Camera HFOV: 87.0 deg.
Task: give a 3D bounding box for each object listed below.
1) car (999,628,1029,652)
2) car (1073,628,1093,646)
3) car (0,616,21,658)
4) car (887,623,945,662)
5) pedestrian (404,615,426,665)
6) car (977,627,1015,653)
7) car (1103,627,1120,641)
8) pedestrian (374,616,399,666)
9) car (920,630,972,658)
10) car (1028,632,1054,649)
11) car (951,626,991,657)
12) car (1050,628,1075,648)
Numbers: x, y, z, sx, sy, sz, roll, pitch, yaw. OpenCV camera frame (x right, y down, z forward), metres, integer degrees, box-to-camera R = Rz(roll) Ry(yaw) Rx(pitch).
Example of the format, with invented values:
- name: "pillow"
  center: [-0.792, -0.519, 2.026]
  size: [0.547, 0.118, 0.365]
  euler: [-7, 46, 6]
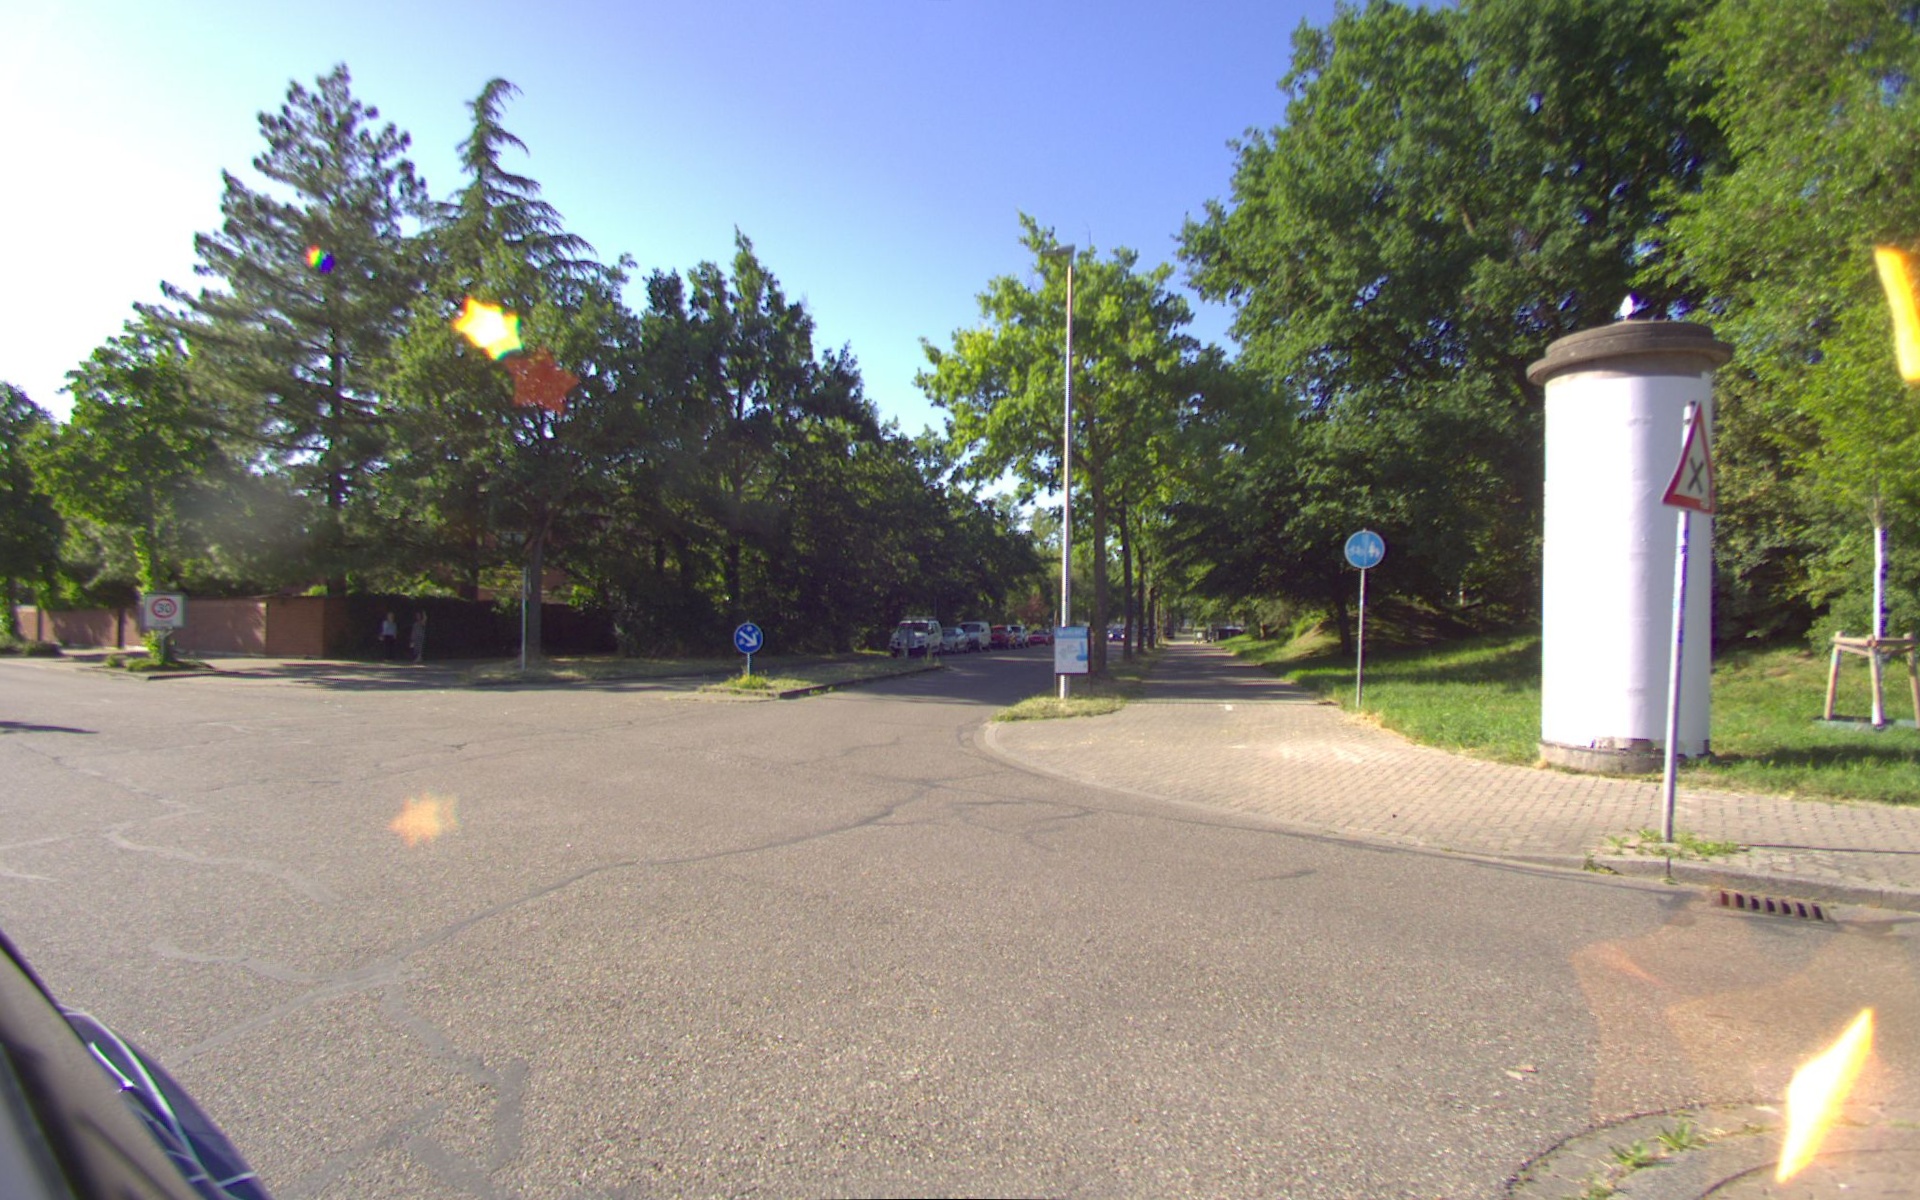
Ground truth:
- name: "car"
  center: [3.869, 2.833, 72.120]
  size: [1.487, 1.651, 3.736]
  euler: [-1, -2, 14]
- name: "car"
  center: [11.883, 3.544, 97.647]
  size: [1.438, 1.666, 3.700]
  euler: [-1, -2, 16]
- name: "car"
  center: [-40.251, 1.501, 41.226]
  size: [3.987, 1.671, 1.978]
  euler: [0, -1, 32]
- name: "car"
  center: [-2.063, 1.997, 48.715]
  size: [1.737, 1.762, 4.617]
  euler: [-1, -2, 11]
- name: "pedestrian"
  center: [-17.286, 1.274, 32.093]
  size: [0.538, 1.573, 0.391]
  euler: [0, -2, 40]
- name: "car"
  center: [2.377, 2.619, 66.556]
  size: [1.756, 1.651, 3.736]
  euler: [-1, -2, 14]
- name: "car"
  center: [18.098, 4.088, 120.783]
  size: [1.410, 1.666, 3.889]
  euler: [-1, -2, 16]
- name: "pedestrian"
  center: [-17.941, 1.279, 31.678]
  size: [0.392, 1.532, 0.536]
  euler: [0, -1, 13]
- name: "car"
  center: [-0.700, 2.362, 54.650]
  size: [1.707, 1.455, 4.593]
  euler: [-2, -2, 14]
- name: "car"
  center: [6.627, 3.315, 82.805]
  size: [1.488, 1.369, 3.448]
  euler: [-1, -2, 16]
- name: "car"
  center: [0.684, 2.409, 59.655]
  size: [1.487, 1.768, 3.784]
  euler: [-1, -2, 14]
- name: "car"
  center: [8.969, 3.304, 88.645]
  size: [1.488, 1.666, 4.070]
  euler: [-1, -2, 16]
